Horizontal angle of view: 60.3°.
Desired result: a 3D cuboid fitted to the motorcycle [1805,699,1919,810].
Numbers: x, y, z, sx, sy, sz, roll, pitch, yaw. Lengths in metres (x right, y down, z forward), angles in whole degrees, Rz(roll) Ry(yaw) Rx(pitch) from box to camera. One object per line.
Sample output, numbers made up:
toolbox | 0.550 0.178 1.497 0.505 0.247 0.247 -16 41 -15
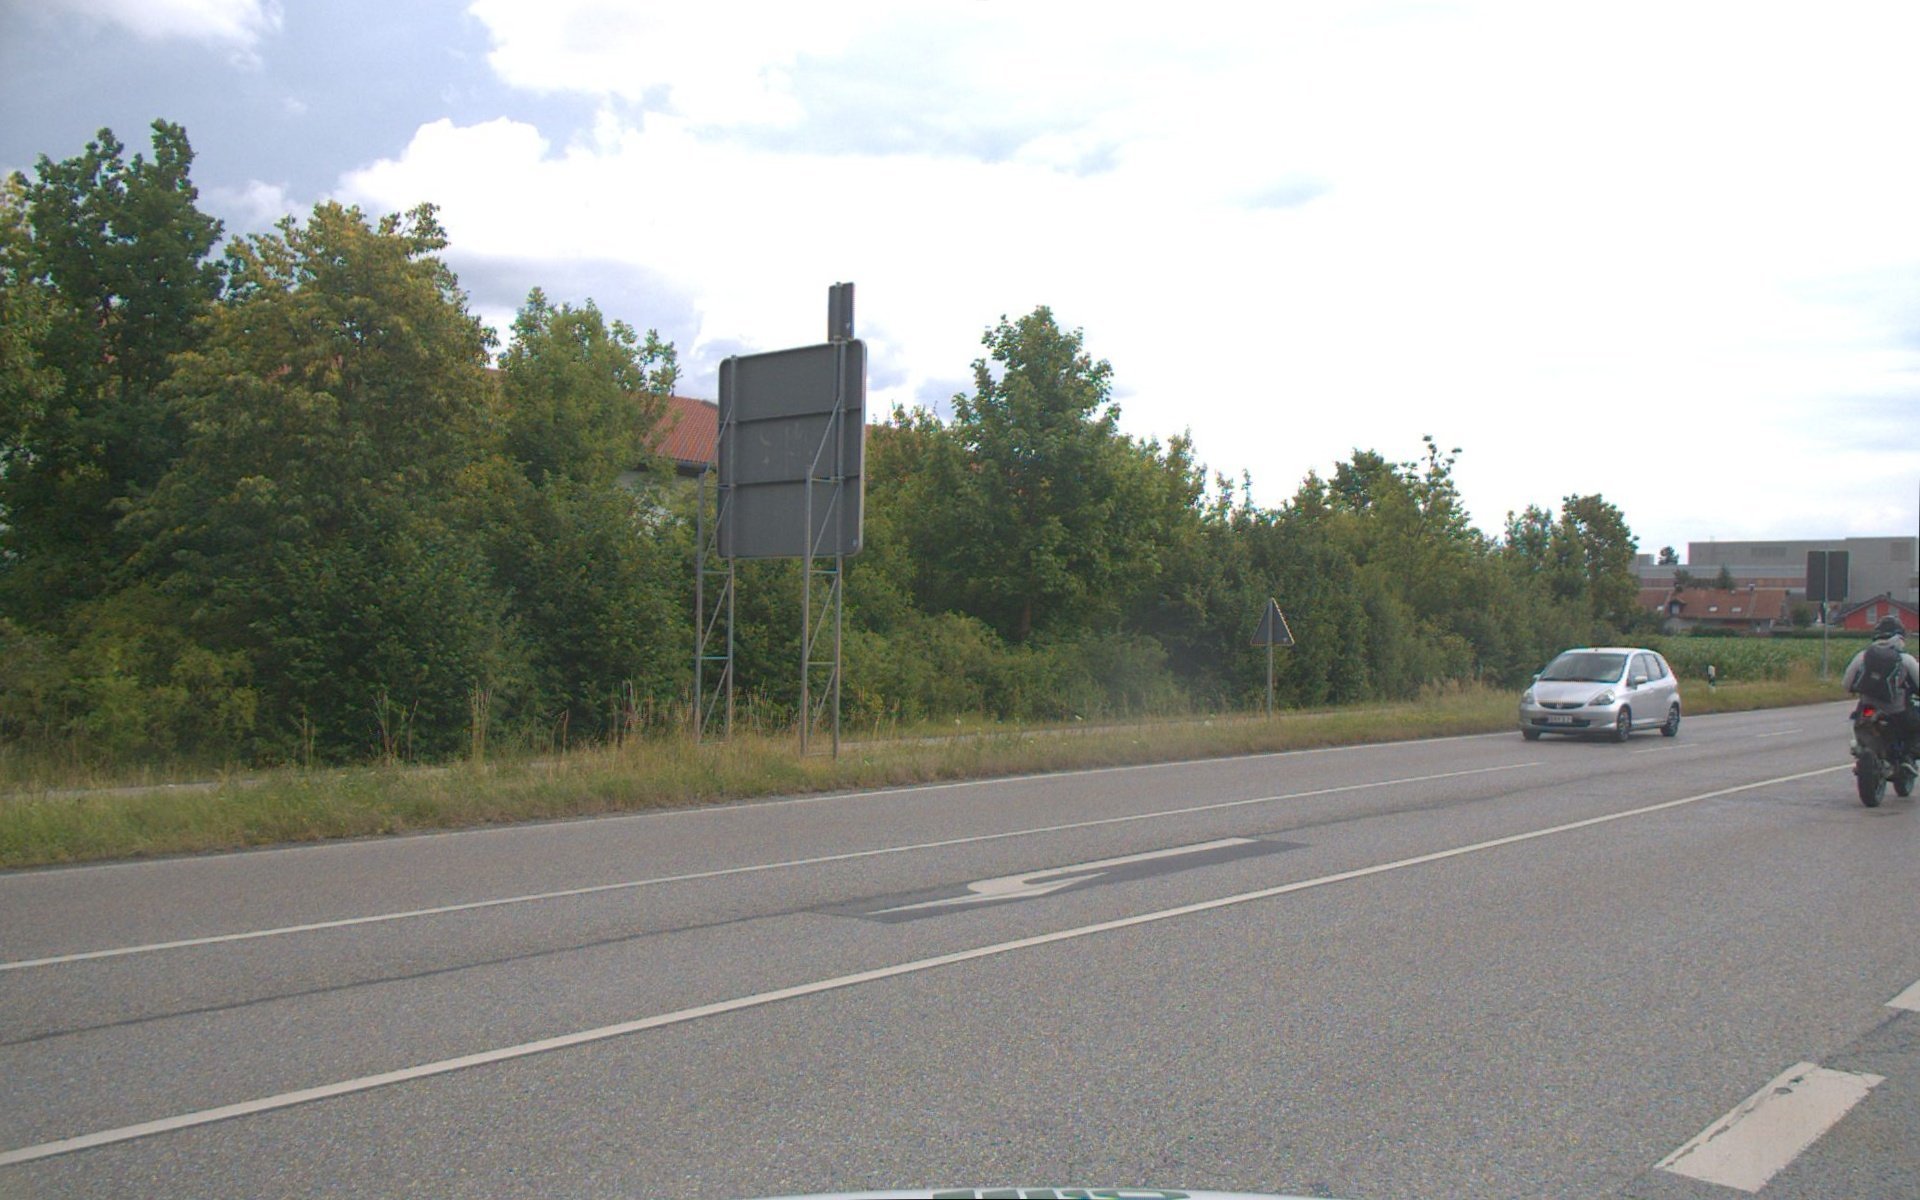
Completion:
motorcycle | 8.896 1.442 15.861 0.927 0.905 2.133 0 -1 41

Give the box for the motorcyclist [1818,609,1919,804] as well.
motorcyclist | 8.907 0.988 15.889 0.927 1.780 1.193 0 -1 41

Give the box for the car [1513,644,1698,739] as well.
car | 10.856 1.476 27.698 1.703 1.457 3.913 -2 -2 40
